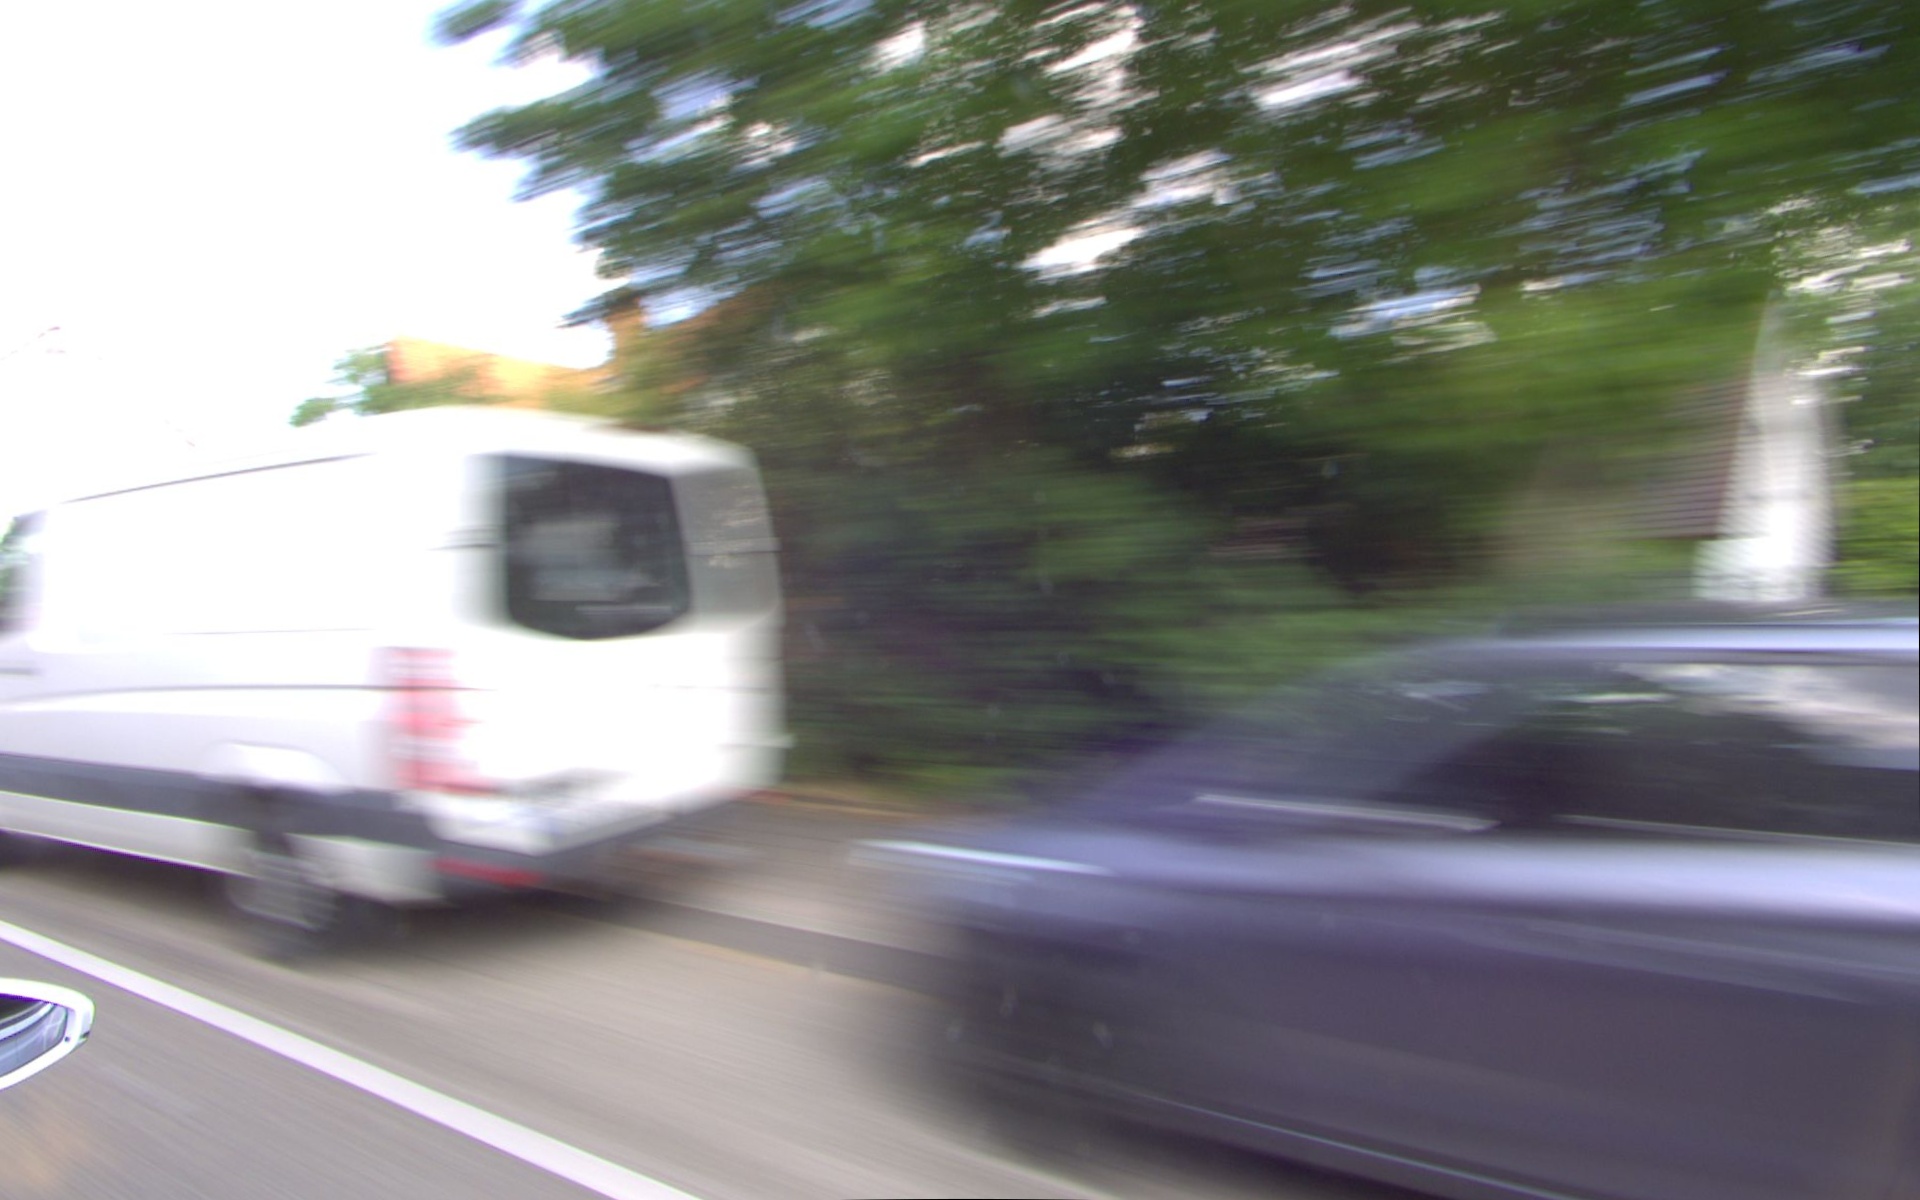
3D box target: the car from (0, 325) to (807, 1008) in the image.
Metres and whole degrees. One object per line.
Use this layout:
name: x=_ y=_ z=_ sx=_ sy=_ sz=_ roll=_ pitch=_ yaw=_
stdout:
car: x=-3.896 y=0.300 z=5.950 sx=5.803 sy=2.472 sz=2.117 roll=-1 pitch=-2 yaw=28

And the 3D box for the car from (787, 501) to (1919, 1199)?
car: x=1.669 y=0.670 z=2.664 sx=4.063 sy=1.605 sz=1.716 roll=-1 pitch=-2 yaw=31
